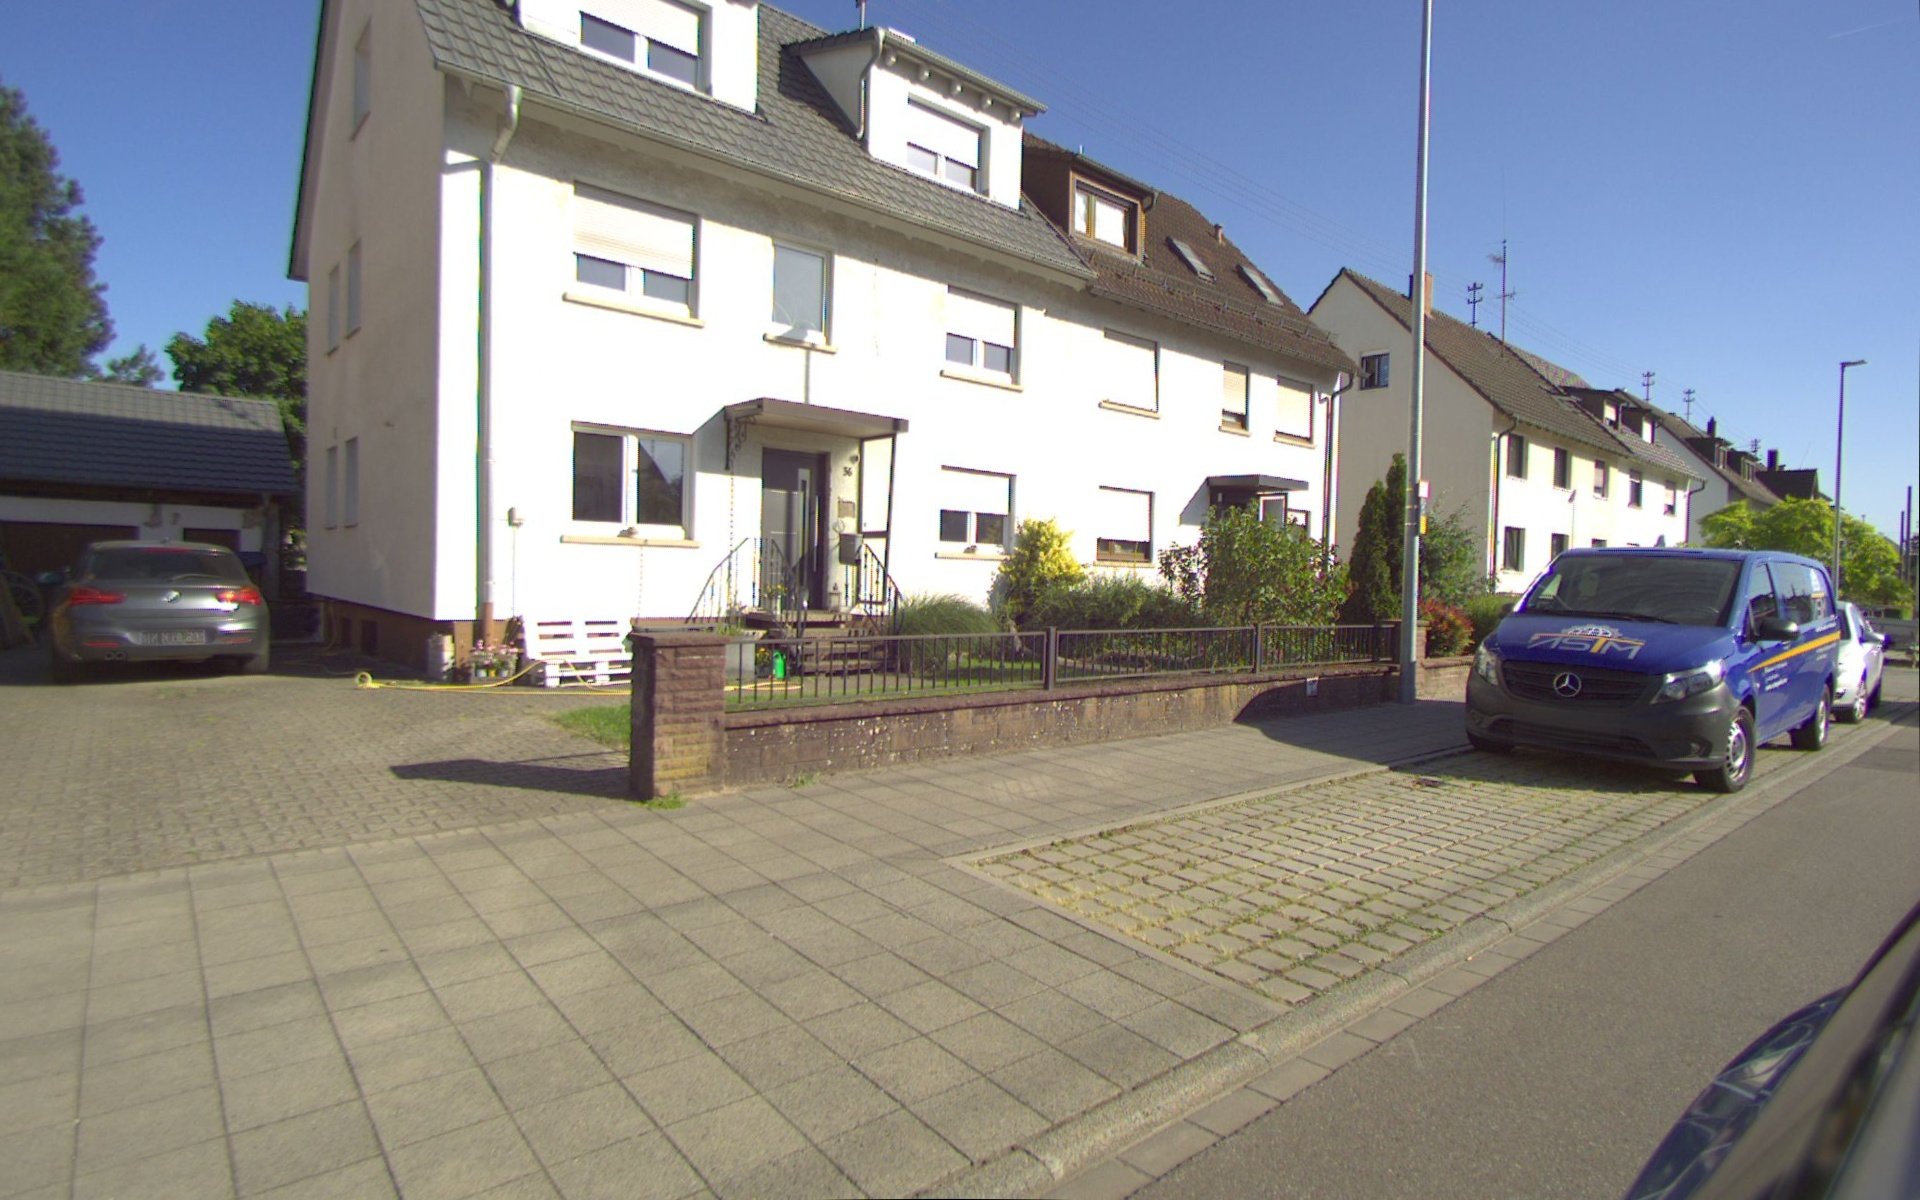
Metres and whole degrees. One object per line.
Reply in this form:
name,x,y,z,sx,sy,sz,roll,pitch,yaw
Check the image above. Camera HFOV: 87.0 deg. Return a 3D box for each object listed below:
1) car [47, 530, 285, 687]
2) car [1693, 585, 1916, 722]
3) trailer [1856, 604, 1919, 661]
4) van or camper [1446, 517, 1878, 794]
car,-8.974,0.022,11.310,1.783,1.438,3.887,0,2,-43
car,11.595,0.591,13.739,5.198,1.476,1.732,0,2,-44
trailer,23.535,0.778,24.434,6.329,1.144,2.275,0,5,-44
van or camper,6.722,0.309,9.366,5.485,1.869,1.953,0,3,-41
